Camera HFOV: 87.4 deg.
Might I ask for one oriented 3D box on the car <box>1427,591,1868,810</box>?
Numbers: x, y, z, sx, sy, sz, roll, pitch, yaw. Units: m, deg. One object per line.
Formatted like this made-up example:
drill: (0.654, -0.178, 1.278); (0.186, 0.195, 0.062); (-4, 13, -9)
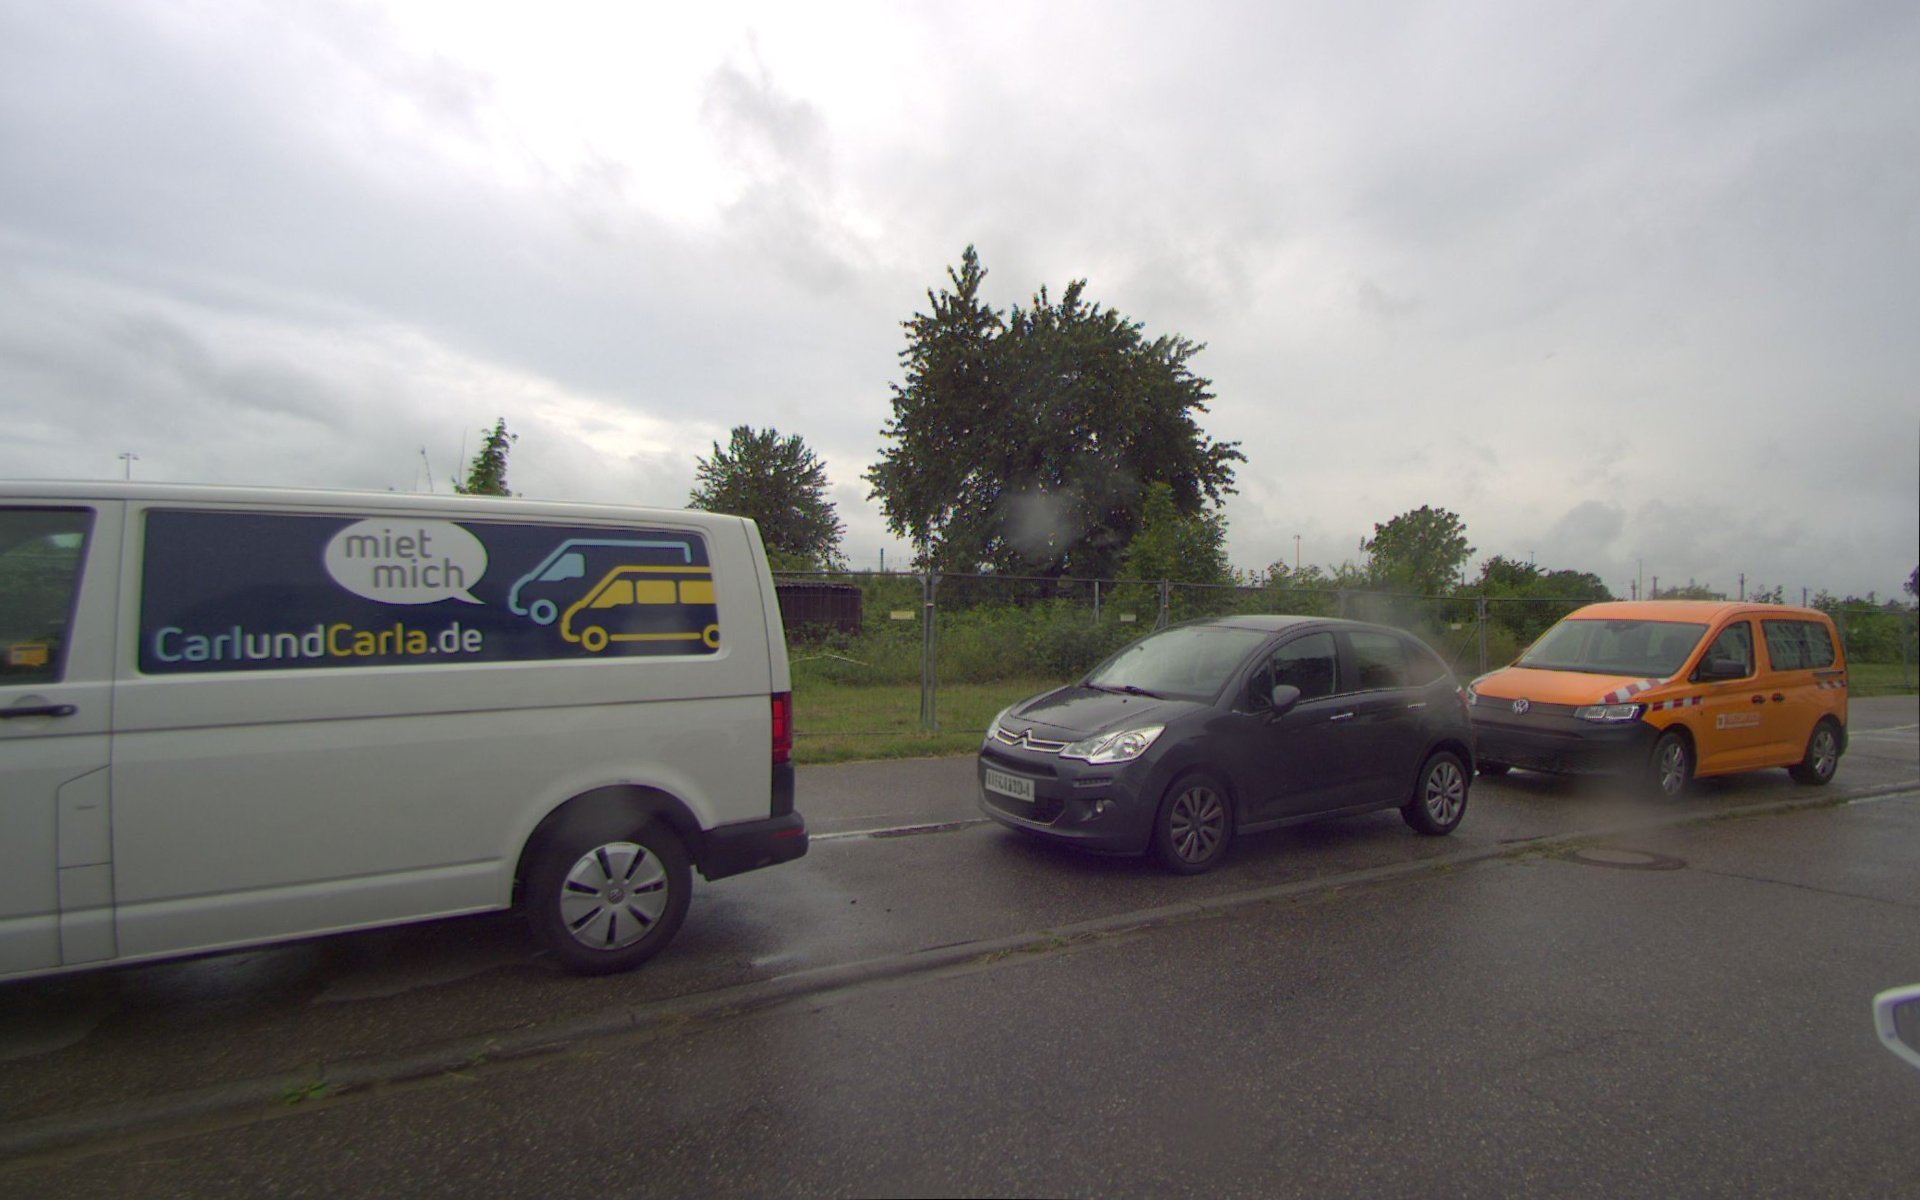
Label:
car: (6.950, 0.875, 10.094); (4.277, 1.791, 1.932); (1, -1, -28)

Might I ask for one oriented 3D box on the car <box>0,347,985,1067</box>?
car: (-2.727, 0.357, 4.457); (5.492, 2.266, 1.933); (1, -1, -31)

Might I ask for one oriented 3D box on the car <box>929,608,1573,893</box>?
car: (2.289, 0.865, 7.342); (4.835, 1.522, 1.675); (1, -1, -31)
